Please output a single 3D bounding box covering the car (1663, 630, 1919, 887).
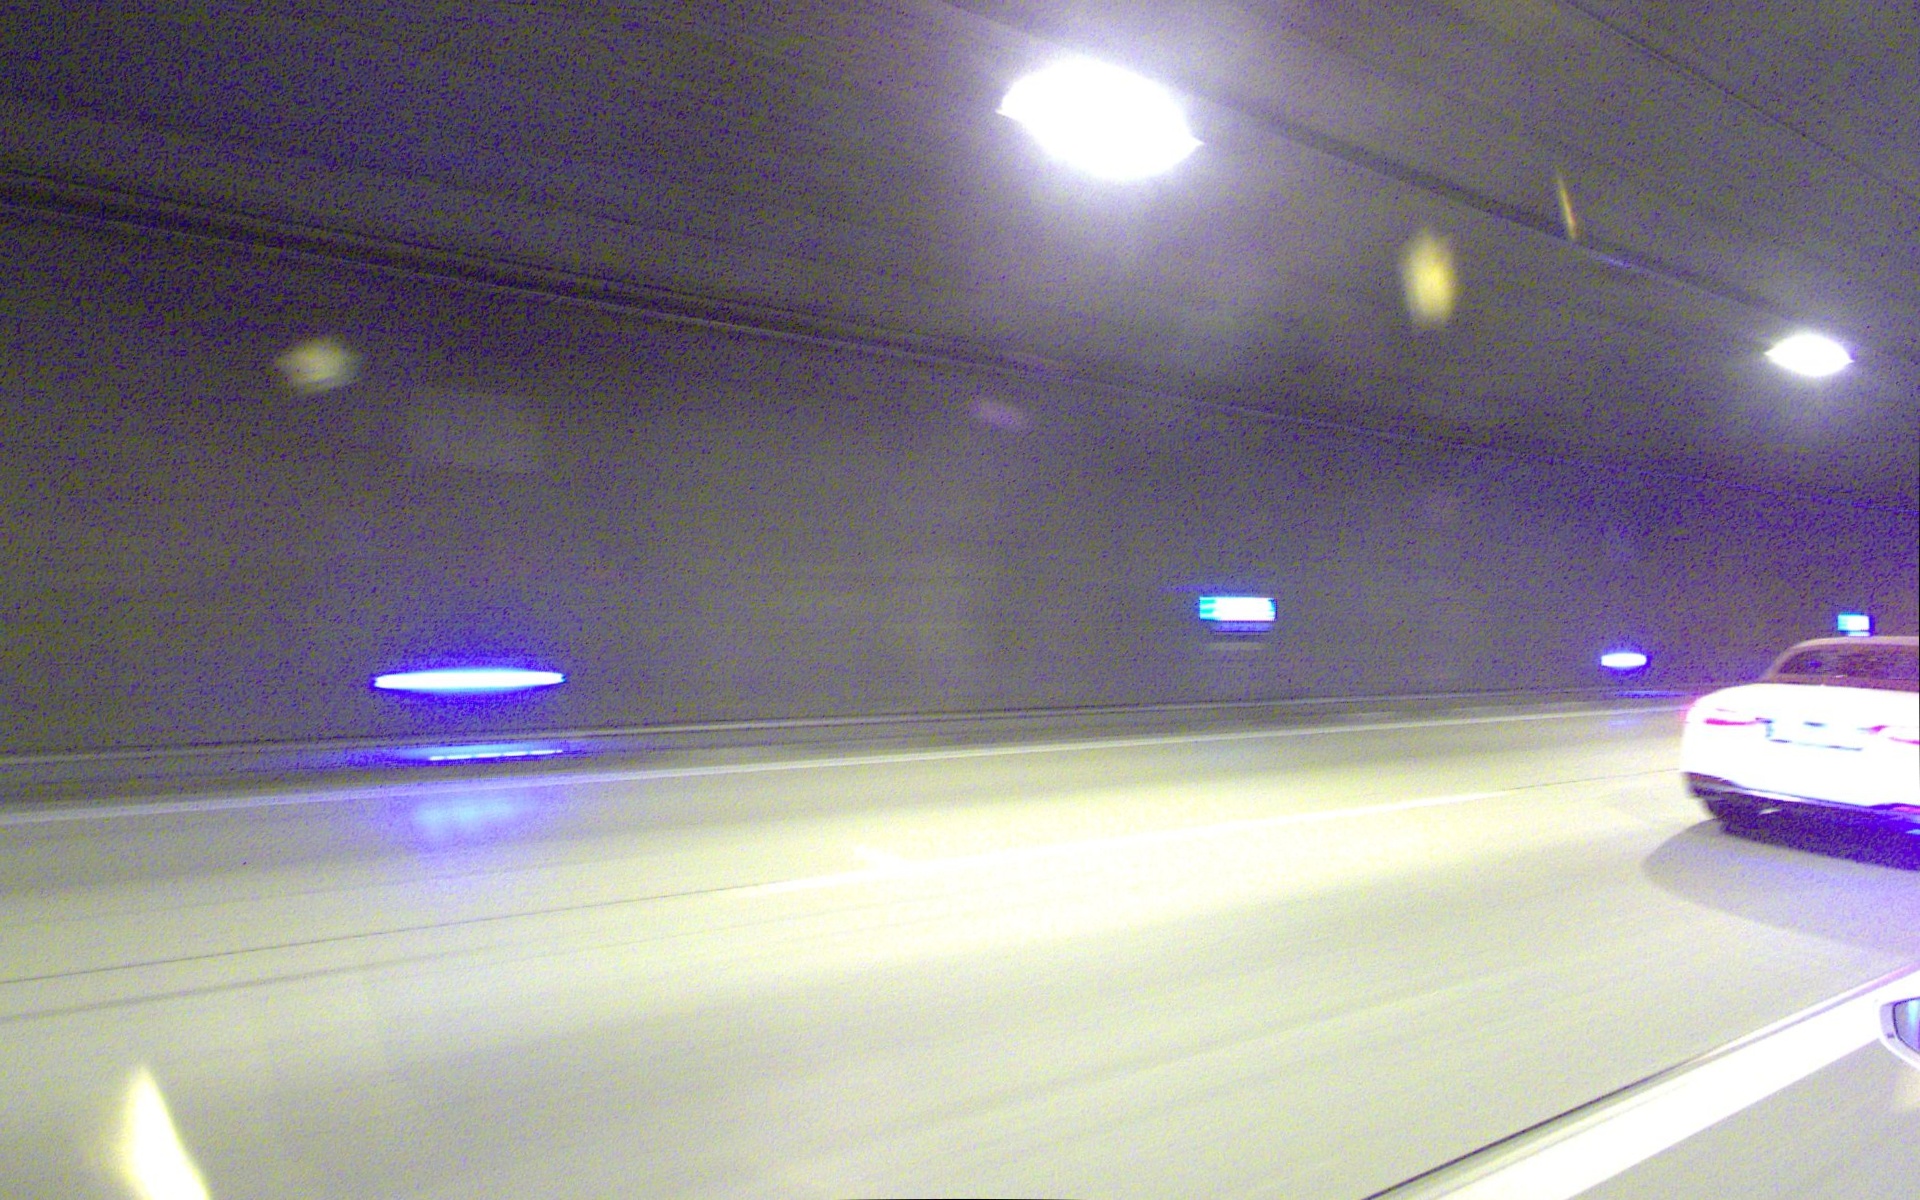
[{"bbox_3d":[7.352,0.953,7.376,5.001,1.438,1.694,1,-1,-31],"label":"car"}]
